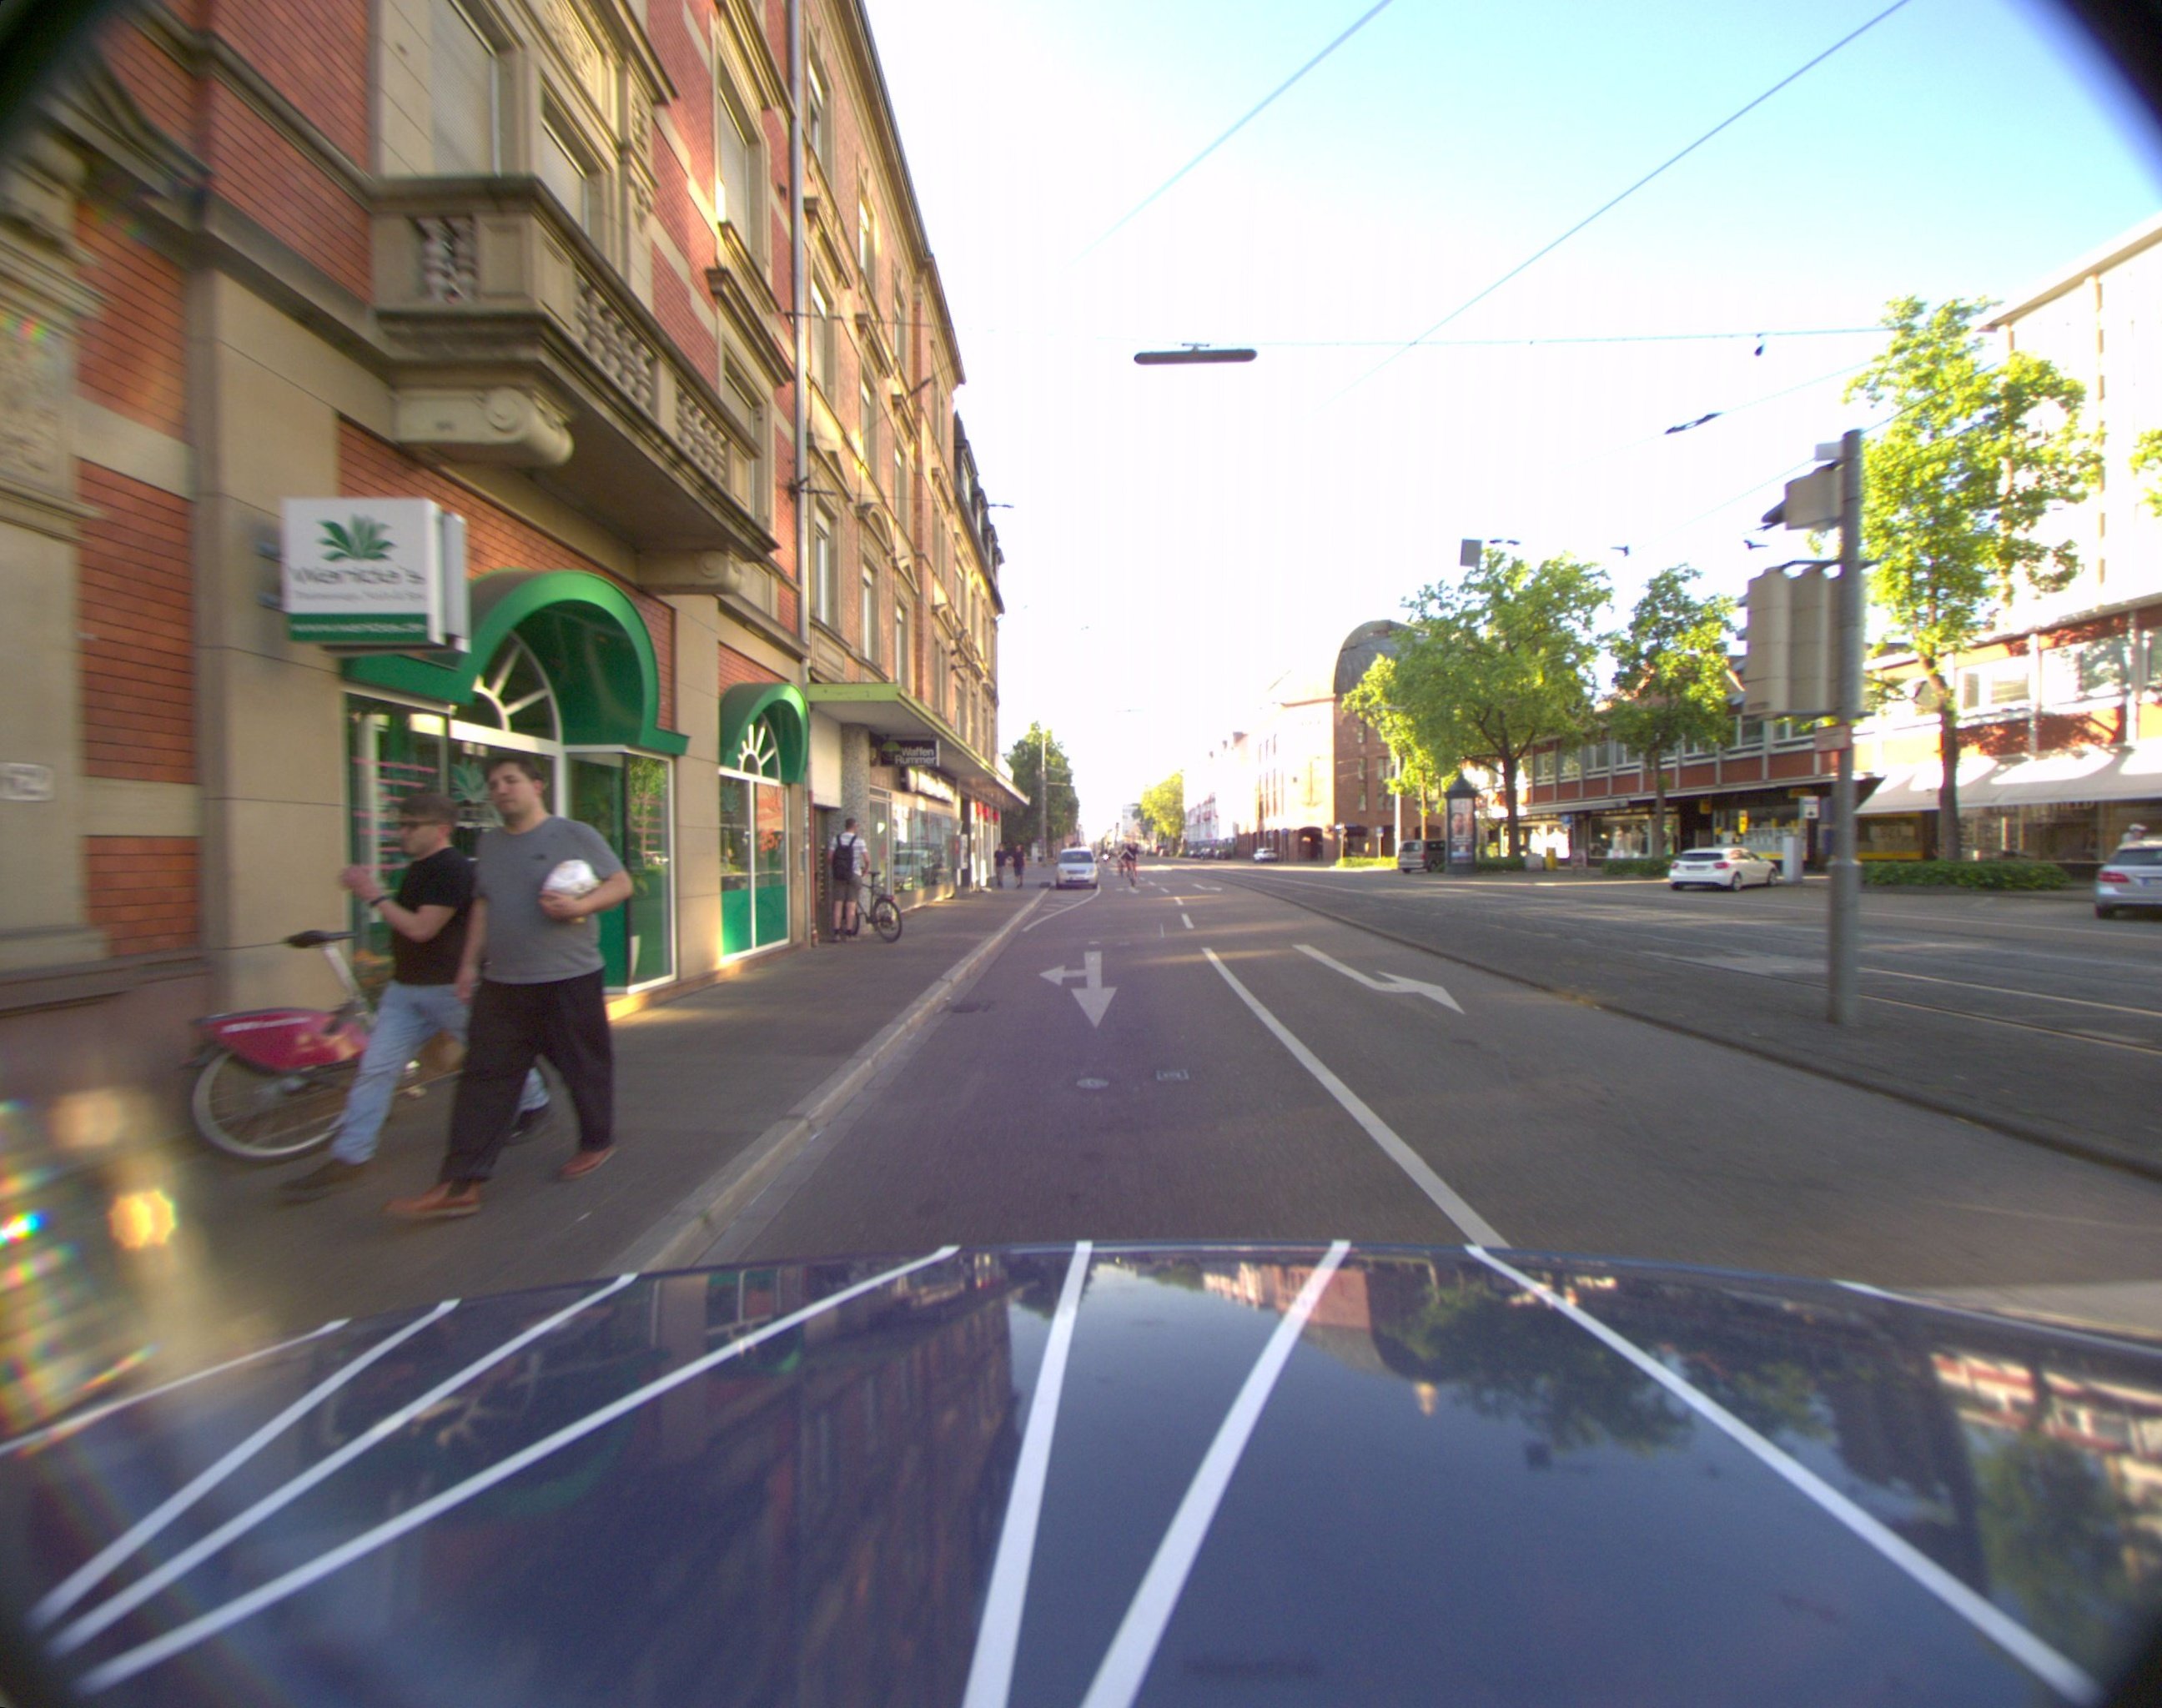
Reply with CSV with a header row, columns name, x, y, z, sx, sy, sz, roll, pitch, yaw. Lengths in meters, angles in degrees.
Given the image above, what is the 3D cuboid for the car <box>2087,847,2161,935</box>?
name,x,y,z,sx,sy,sz,roll,pitch,yaw
car,21.963,0.679,15.187,4.006,1.545,1.793,-2,1,-30

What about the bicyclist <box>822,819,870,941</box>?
name,x,y,z,sx,sy,sz,roll,pitch,yaw
bicyclist,-3.765,0.395,12.155,0.600,1.871,0.742,-1,1,-25

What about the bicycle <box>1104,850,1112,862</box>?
name,x,y,z,sx,sy,sz,roll,pitch,yaw
bicycle,2.865,0.209,80.543,0.646,1.176,1.804,0,1,-2

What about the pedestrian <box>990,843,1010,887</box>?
name,x,y,z,sx,sy,sz,roll,pitch,yaw
pedestrian,-3.229,0.420,30.356,0.700,1.713,0.681,1,1,2

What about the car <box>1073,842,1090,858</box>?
name,x,y,z,sx,sy,sz,roll,pitch,yaw
car,0.096,-0.434,84.002,1.670,1.674,4.000,-1,1,3

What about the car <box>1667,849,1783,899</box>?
name,x,y,z,sx,sy,sz,roll,pitch,yaw
car,21.958,0.644,25.876,4.006,1.466,1.793,-2,1,-30

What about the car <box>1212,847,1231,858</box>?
name,x,y,z,sx,sy,sz,roll,pitch,yaw
car,20.311,-0.226,109.816,1.965,1.594,3.999,-2,1,-1

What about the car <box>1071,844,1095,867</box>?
name,x,y,z,sx,sy,sz,roll,pitch,yaw
car,0.188,0.070,59.055,1.670,1.674,4.000,-1,1,3

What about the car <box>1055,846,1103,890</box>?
name,x,y,z,sx,sy,sz,roll,pitch,yaw
car,-0.009,0.506,31.381,1.670,1.674,4.001,-1,1,4

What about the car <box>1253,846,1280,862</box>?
name,x,y,z,sx,sy,sz,roll,pitch,yaw
car,20.145,0.005,82.769,1.910,1.594,3.999,-2,1,-1

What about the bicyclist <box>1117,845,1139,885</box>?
name,x,y,z,sx,sy,sz,roll,pitch,yaw
bicyclist,1.942,0.442,31.190,0.885,1.651,0.803,0,1,4

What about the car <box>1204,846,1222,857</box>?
name,x,y,z,sx,sy,sz,roll,pitch,yaw
car,20.200,-0.356,116.276,1.965,1.594,3.999,-2,1,-1

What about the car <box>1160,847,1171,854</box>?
name,x,y,z,sx,sy,sz,roll,pitch,yaw
car,18.847,-0.755,170.149,1.965,1.594,3.999,-2,1,-1

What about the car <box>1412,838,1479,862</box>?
name,x,y,z,sx,sy,sz,roll,pitch,yaw
car,32.348,-0.369,67.538,4.983,2.002,1.999,0,1,-1

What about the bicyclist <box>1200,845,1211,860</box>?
name,x,y,z,sx,sy,sz,roll,pitch,yaw
bicyclist,12.153,-0.134,74.188,0.761,1.414,0.674,1,2,42

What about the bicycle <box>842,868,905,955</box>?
name,x,y,z,sx,sy,sz,roll,pitch,yaw
bicycle,-3.408,0.872,12.353,0.669,1.246,1.891,-1,1,-25

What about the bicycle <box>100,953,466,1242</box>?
name,x,y,z,sx,sy,sz,roll,pitch,yaw
bicycle,-3.759,1.072,3.715,0.345,0.990,1.241,1,1,10

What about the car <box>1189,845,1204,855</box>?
name,x,y,z,sx,sy,sz,roll,pitch,yaw
car,20.525,-0.746,135.310,1.965,1.594,3.999,-2,1,-1

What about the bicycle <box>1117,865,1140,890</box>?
name,x,y,z,sx,sy,sz,roll,pitch,yaw
bicycle,1.939,0.941,31.029,0.885,0.949,1.766,0,1,4

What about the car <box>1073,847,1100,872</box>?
name,x,y,z,sx,sy,sz,roll,pitch,yaw
car,0.425,0.329,53.620,1.670,1.674,4.000,-1,1,3

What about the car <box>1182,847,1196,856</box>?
name,x,y,z,sx,sy,sz,roll,pitch,yaw
car,21.463,-0.527,151.053,1.965,1.594,3.999,-2,1,-1

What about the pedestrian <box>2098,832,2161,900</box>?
name,x,y,z,sx,sy,sz,roll,pitch,yaw
pedestrian,27.669,0.306,20.032,0.635,1.759,0.769,0,2,17

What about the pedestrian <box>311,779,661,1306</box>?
name,x,y,z,sx,sy,sz,roll,pitch,yaw
pedestrian,-2.340,0.677,3.099,0.824,1.883,0.754,1,1,1

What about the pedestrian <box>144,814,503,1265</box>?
name,x,y,z,sx,sy,sz,roll,pitch,yaw
pedestrian,-3.169,0.705,3.270,0.777,1.713,0.754,1,1,1

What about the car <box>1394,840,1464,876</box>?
name,x,y,z,sx,sy,sz,roll,pitch,yaw
car,20.533,0.200,44.739,4.006,1.953,1.907,-2,1,-34

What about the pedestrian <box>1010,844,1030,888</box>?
name,x,y,z,sx,sy,sz,roll,pitch,yaw
pedestrian,-2.399,0.460,30.109,0.700,1.713,0.502,1,1,2

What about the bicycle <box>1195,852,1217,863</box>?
name,x,y,z,sx,sy,sz,roll,pitch,yaw
bicycle,12.193,0.314,74.164,2.032,1.085,0.674,0,1,42

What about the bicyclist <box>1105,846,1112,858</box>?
name,x,y,z,sx,sy,sz,roll,pitch,yaw
bicyclist,2.924,-0.218,80.570,0.646,1.176,0.723,0,1,-2

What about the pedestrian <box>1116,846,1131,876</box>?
name,x,y,z,sx,sy,sz,roll,pitch,yaw
pedestrian,2.398,0.405,42.772,0.849,1.652,0.850,0,1,4
